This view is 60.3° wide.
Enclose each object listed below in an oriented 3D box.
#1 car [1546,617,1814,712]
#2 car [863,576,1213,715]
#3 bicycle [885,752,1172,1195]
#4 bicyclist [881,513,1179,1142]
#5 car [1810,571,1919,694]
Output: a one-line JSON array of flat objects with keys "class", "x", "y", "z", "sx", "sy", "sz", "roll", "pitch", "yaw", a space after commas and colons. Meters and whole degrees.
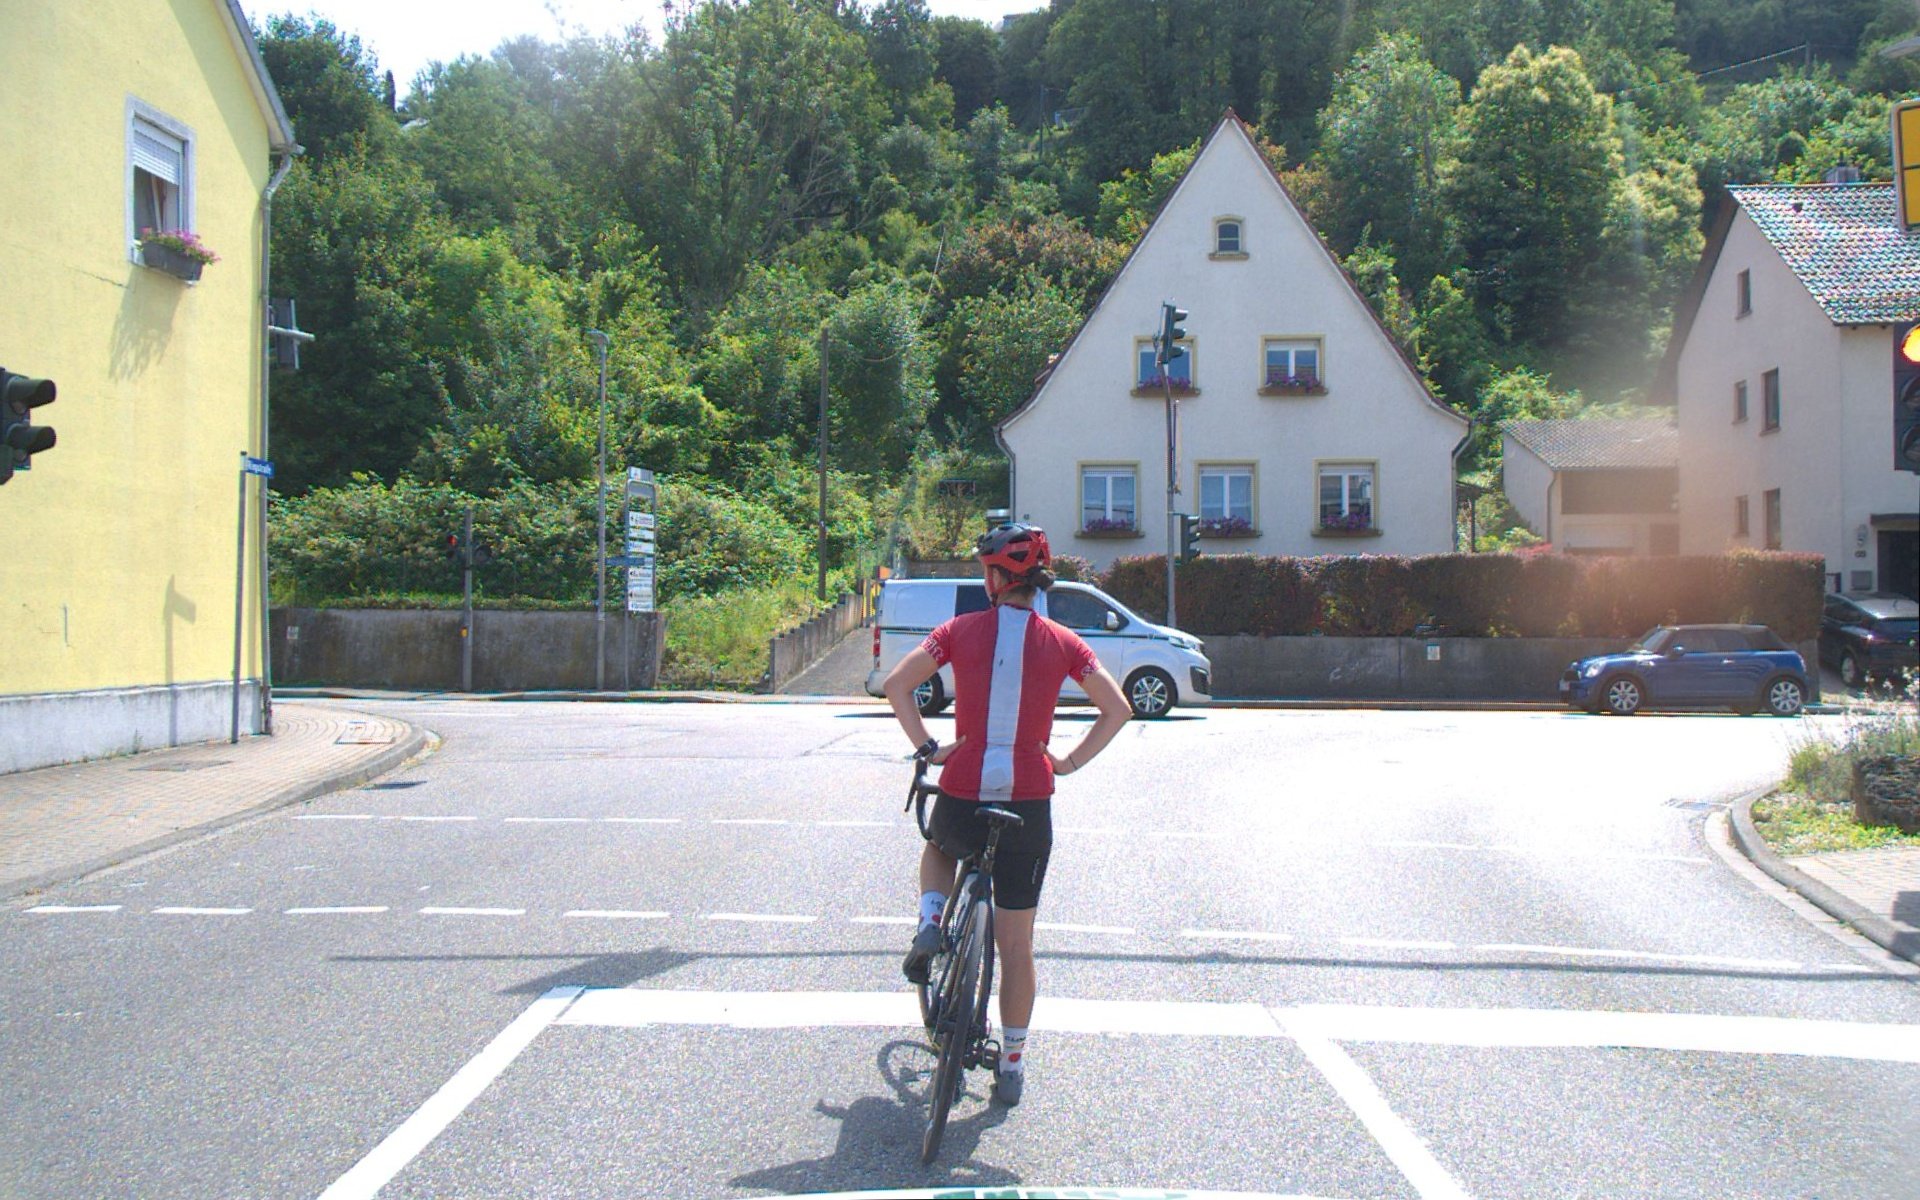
[{"class": "car", "x": 11.300, "y": 1.026, "z": 26.143, "sx": 3.533, "sy": 1.387, "sz": 1.645, "roll": 1, "pitch": -3, "yaw": 3}, {"class": "car", "x": 1.172, "y": 0.639, "z": 23.466, "sx": 4.769, "sy": 1.854, "sz": 2.001, "roll": 0, "pitch": -2, "yaw": 8}, {"class": "bicycle", "x": 0.132, "y": 0.988, "z": 4.866, "sx": 0.617, "sy": 0.920, "sz": 1.655, "roll": 1, "pitch": 0, "yaw": -5}, {"class": "bicyclist", "x": 0.173, "y": 0.621, "z": 4.926, "sx": 0.746, "sy": 1.693, "sz": 0.868, "roll": 1, "pitch": 0, "yaw": -5}, {"class": "car", "x": 17.303, "y": 0.555, "z": 31.138, "sx": 1.758, "sy": 1.411, "sz": 3.696, "roll": 0, "pitch": 14, "yaw": 19}]
